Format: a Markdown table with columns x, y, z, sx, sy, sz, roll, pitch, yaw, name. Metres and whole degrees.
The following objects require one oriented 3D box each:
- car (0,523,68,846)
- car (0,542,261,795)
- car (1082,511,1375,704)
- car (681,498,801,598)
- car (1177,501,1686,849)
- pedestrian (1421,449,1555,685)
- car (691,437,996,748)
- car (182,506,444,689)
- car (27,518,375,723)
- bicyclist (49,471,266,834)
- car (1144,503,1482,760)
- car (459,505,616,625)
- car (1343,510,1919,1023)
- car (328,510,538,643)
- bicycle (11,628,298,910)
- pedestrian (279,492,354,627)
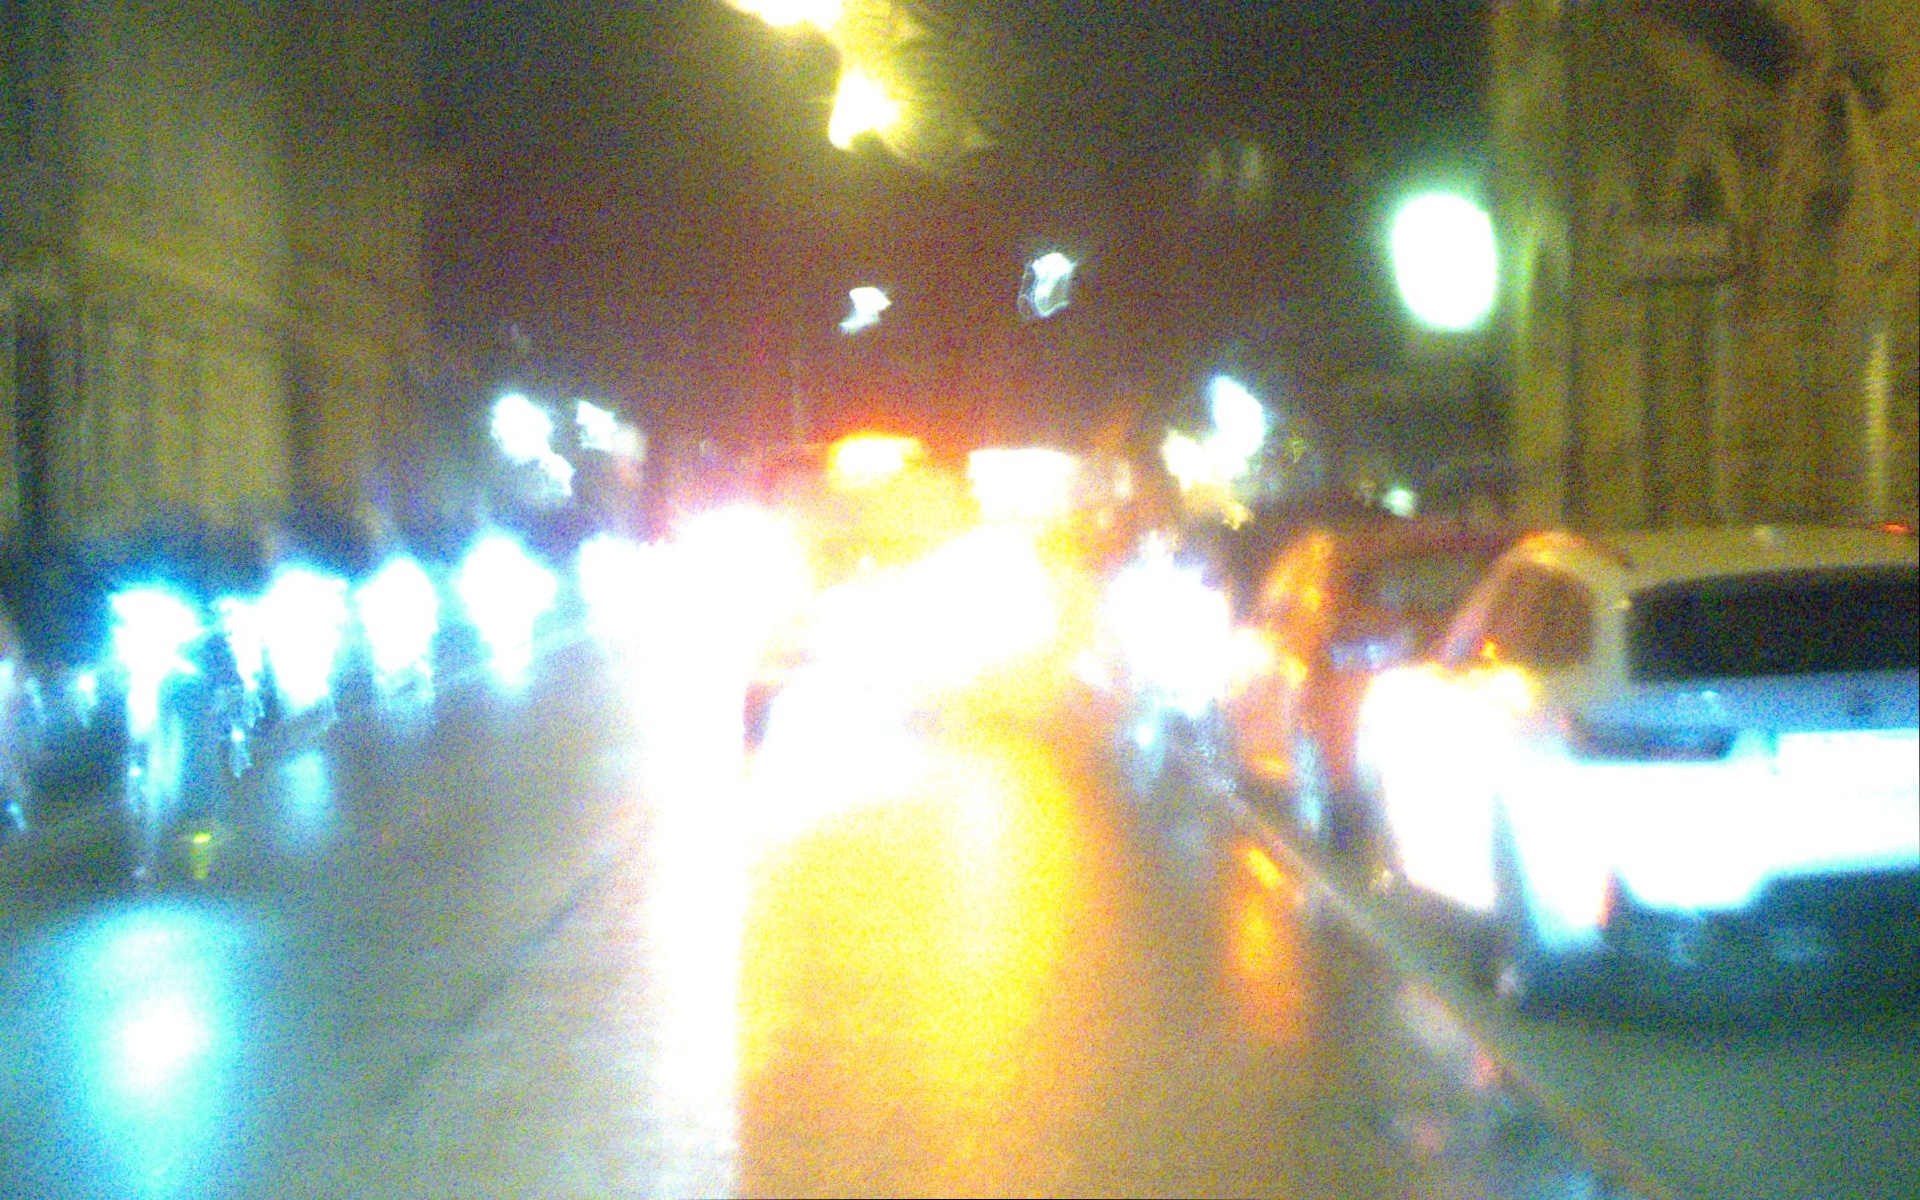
| x | y | z | sx | sy | sz | roll | pitch | yaw | name |
| --- | --- | --- | --- | --- | --- | --- | --- | --- | --- |
| -5.559 | 0.443 | 15.968 | 1.774 | 1.567 | 4.135 | -1 | 1 | -1 | car |
| -5.737 | 0.359 | 21.579 | 1.822 | 1.385 | 4.426 | -1 | 1 | -1 | car |
| 2.078 | 0.006 | 27.680 | 1.917 | 1.407 | 4.001 | -1 | 1 | -1 | car |
| -3.824 | -0.949 | 60.602 | 1.920 | 1.612 | 4.575 | -3 | 2 | -2 | car |
| 2.200 | 0.282 | 17.043 | 1.689 | 1.493 | 3.892 | -1 | 1 | -4 | car |
| 4.132 | -0.275 | 26.981 | 0.862 | 1.782 | 1.083 | -3 | 2 | 3 | pedestrian |
| -0.775 | -0.113 | 25.115 | 1.996 | 2.042 | 4.694 | -1 | 2 | 0 | car |
| -5.925 | -0.066 | 31.875 | 1.745 | 1.583 | 3.766 | -1 | 1 | -1 | car |
| -5.910 | 0.101 | 27.269 | 1.832 | 1.476 | 4.307 | -1 | 1 | -1 | car |
| -3.556 | 0.215 | 15.300 | 0.718 | 1.551 | 0.895 | -2 | 1 | -1 | bicyclist |
| 2.195 | 0.139 | 22.300 | 1.689 | 1.493 | 3.892 | -1 | 1 | -1 | car |
| -6.306 | -0.558 | 51.785 | 1.832 | 1.711 | 4.595 | -1 | 1 | -1 | car |
| 2.633 | 0.425 | 12.141 | 1.993 | 1.459 | 4.417 | -1 | 1 | -1 | car |
| -6.232 | -0.324 | 41.113 | 1.832 | 1.481 | 4.595 | -1 | 1 | -1 | car |
| -3.556 | 0.710 | 15.384 | 0.727 | 1.069 | 2.348 | -2 | 1 | -1 | bicycle |
| -8.733 | -0.550 | 46.675 | 0.743 | 1.798 | 0.986 | 1 | 1 | 3 | pedestrian |
